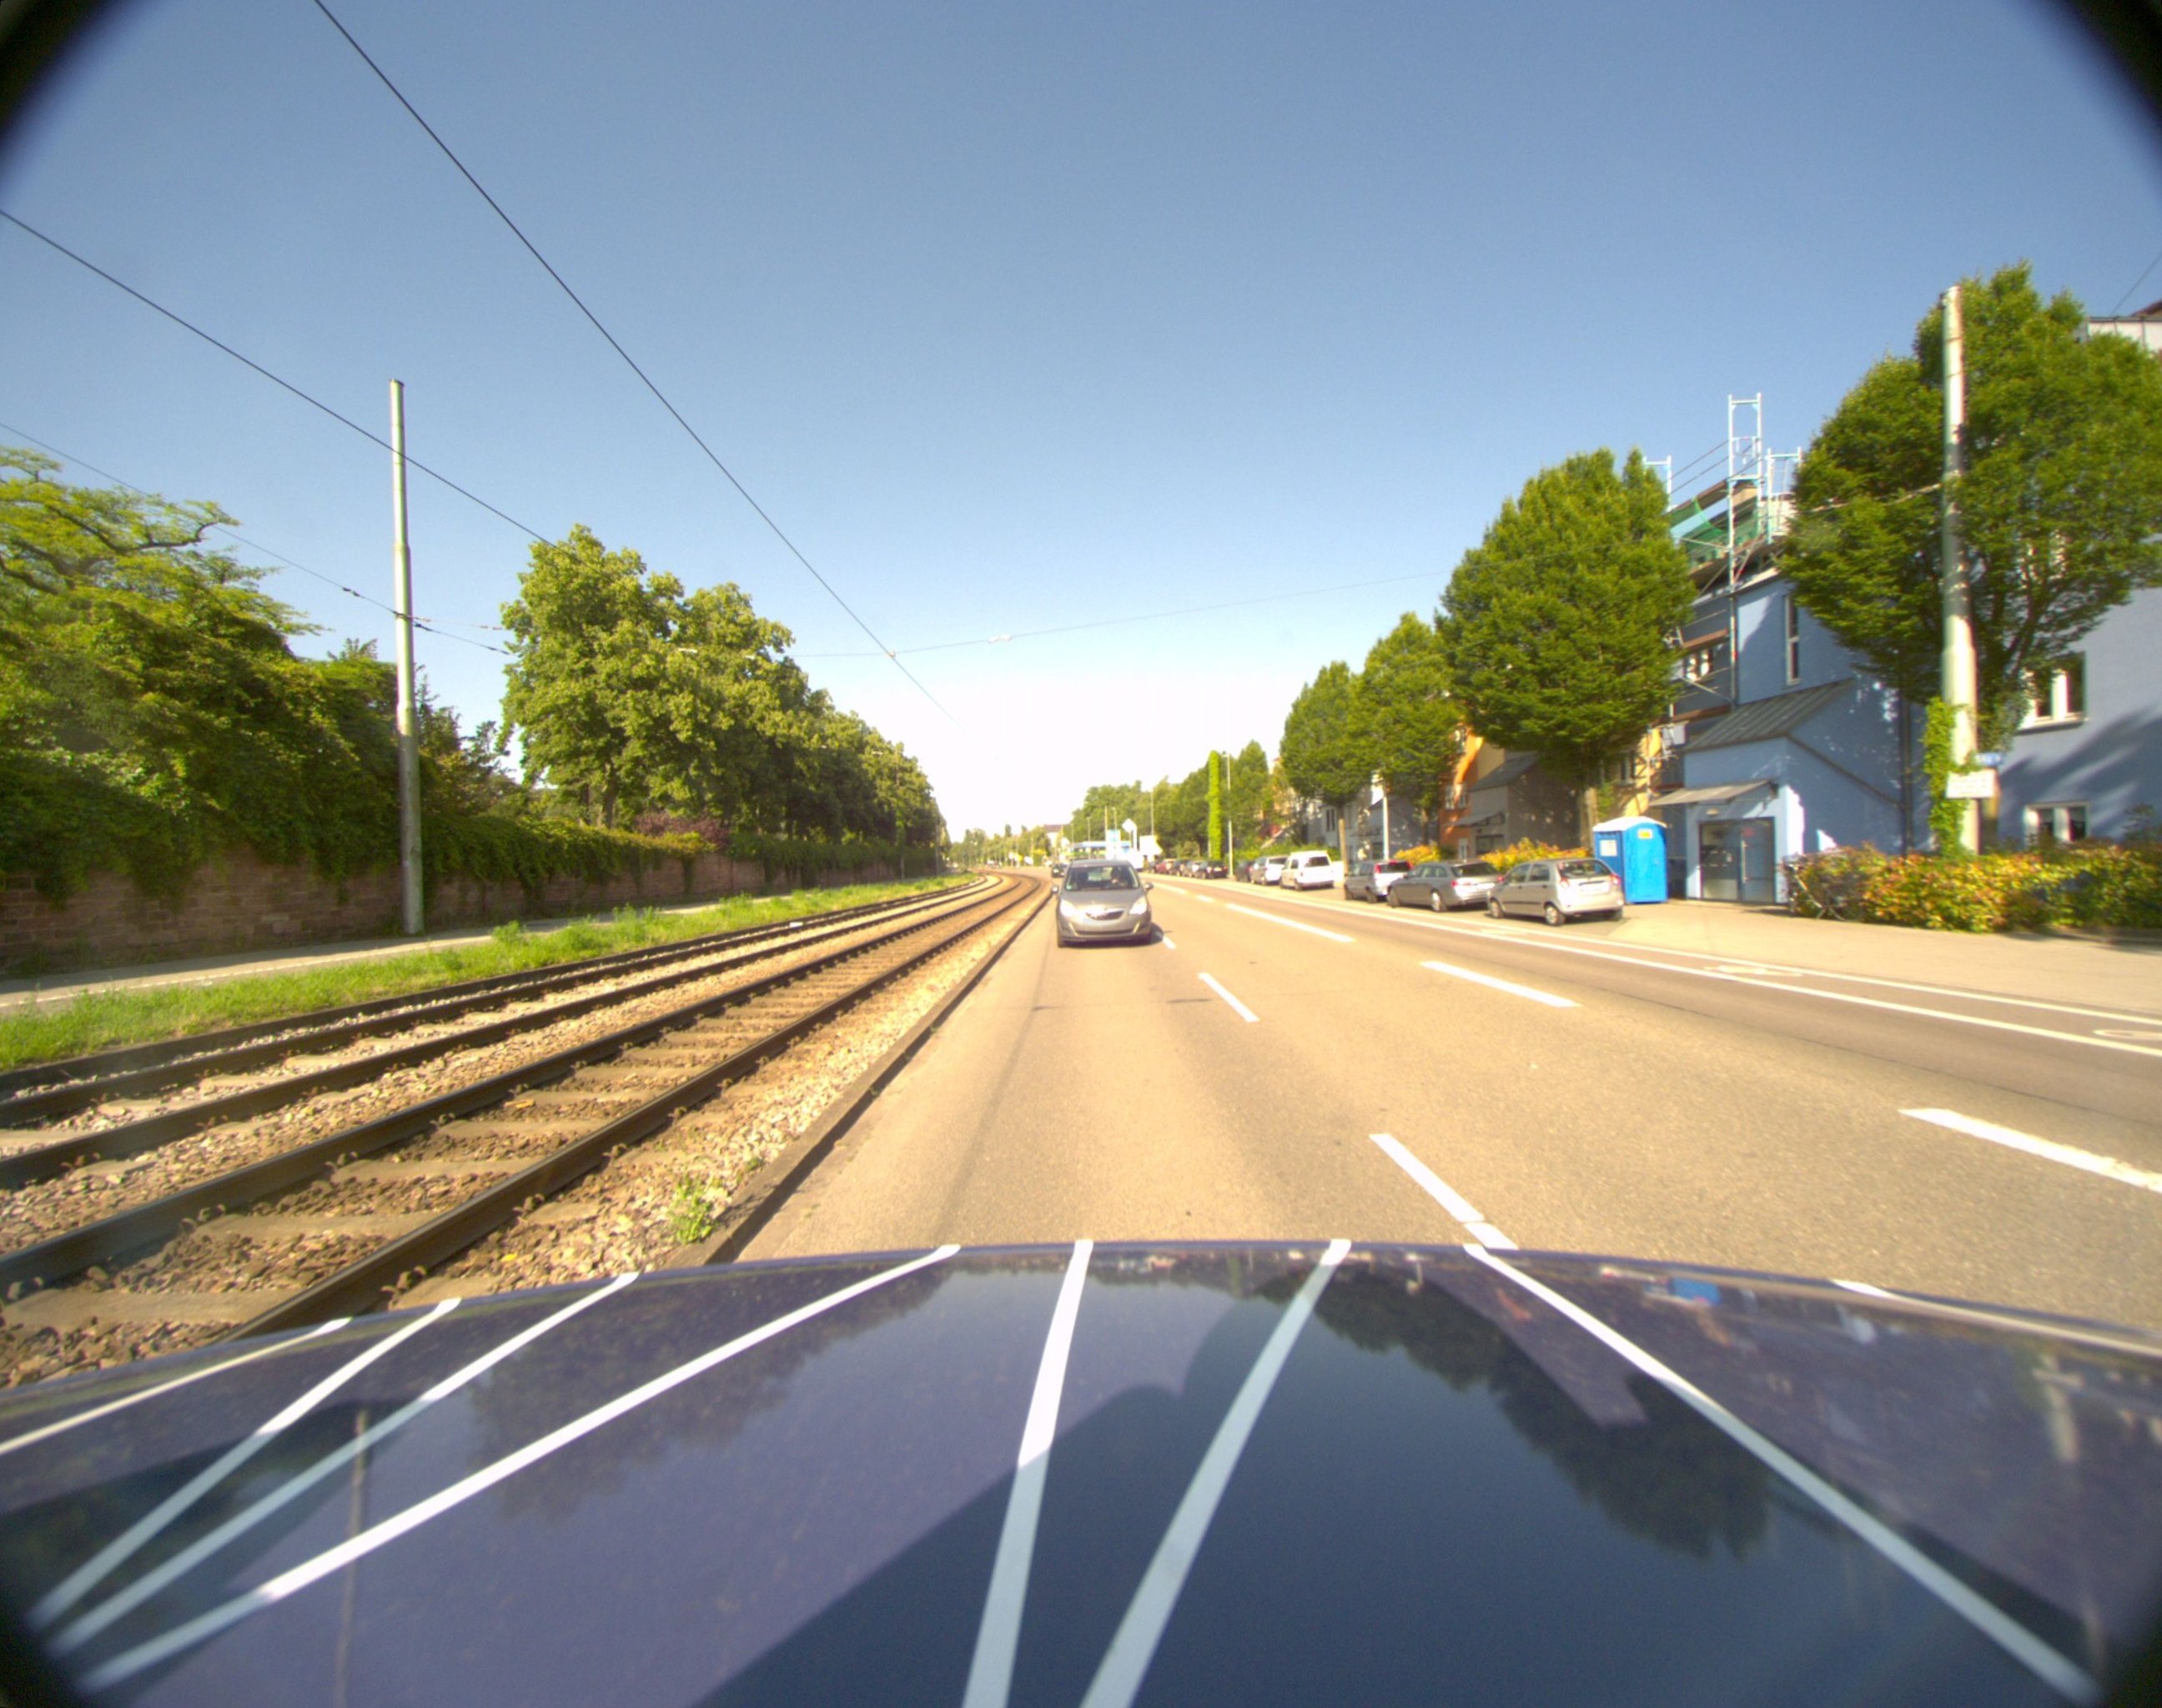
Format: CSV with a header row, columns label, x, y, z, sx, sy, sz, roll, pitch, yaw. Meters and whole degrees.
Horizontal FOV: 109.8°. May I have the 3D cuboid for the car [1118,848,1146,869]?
label,x,y,z,sx,sy,sz,roll,pitch,yaw
car,6.581,0.587,98.639,2.159,2.443,6.179,-4,0,-9

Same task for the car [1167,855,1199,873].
label,x,y,z,sx,sy,sz,roll,pitch,yaw
car,9.708,0.917,72.654,1.768,1.564,4.433,-3,0,-10

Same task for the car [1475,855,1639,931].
label,x,y,z,sx,sy,sz,roll,pitch,yaw
car,11.190,0.848,18.166,1.605,1.486,3.509,-6,0,0

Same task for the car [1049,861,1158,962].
label,x,y,z,sx,sy,sz,roll,pitch,yaw
car,0.409,0.963,14.350,1.730,1.574,3.764,-2,0,1

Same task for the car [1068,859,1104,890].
label,x,y,z,sx,sy,sz,roll,pitch,yaw
car,0.210,1.091,41.387,1.710,1.487,3.999,-3,0,-2

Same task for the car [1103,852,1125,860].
label,x,y,z,sx,sy,sz,roll,pitch,yaw
car,8.136,0.476,186.405,5.086,1.929,1.856,-1,0,-5

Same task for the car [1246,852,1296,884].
label,x,y,z,sx,sy,sz,roll,pitch,yaw
car,11.088,0.785,44.717,1.672,1.691,4.824,-3,0,0

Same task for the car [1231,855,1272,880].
label,x,y,z,sx,sy,sz,roll,pitch,yaw
car,11.197,0.869,50.105,1.620,1.457,4.057,-3,0,-2

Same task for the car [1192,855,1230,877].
label,x,y,z,sx,sy,sz,roll,pitch,yaw
car,10.477,0.931,61.435,1.871,1.535,4.908,-4,0,-3

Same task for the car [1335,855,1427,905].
label,x,y,z,sx,sy,sz,roll,pitch,yaw
car,11.097,0.907,28.368,1.767,1.530,3.981,-6,0,1

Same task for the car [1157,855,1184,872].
label,x,y,z,sx,sy,sz,roll,pitch,yaw
car,9.226,0.973,78.521,1.768,1.565,4.159,-2,1,-6

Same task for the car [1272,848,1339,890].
label,x,y,z,sx,sy,sz,roll,pitch,yaw
car,11.262,0.703,38.491,1.767,1.835,4.579,-6,0,-1

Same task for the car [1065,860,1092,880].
label,x,y,z,sx,sy,sz,roll,pitch,yaw
car,-0.235,1.118,53.831,1.579,1.306,3.998,-3,0,-4

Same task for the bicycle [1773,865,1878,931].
label,x,y,z,sx,sy,sz,roll,pitch,yaw
bicycle,14.278,0.812,14.636,0.444,1.147,1.785,-1,1,7

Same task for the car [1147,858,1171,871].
label,x,y,z,sx,sy,sz,roll,pitch,yaw
car,8.599,1.128,83.820,1.657,1.416,4.710,-1,0,-7

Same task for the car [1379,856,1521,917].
label,x,y,z,sx,sy,sz,roll,pitch,yaw
car,11.045,0.900,23.183,1.753,1.502,4.754,-6,0,-2

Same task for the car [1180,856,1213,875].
label,x,y,z,sx,sy,sz,roll,pitch,yaw
car,10.157,0.971,67.307,1.717,1.463,4.841,-3,1,-5

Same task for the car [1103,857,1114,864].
label,x,y,z,sx,sy,sz,roll,pitch,yaw
car,6.041,1.471,168.923,1.742,1.481,4.271,-1,0,-8

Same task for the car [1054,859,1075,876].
label,x,y,z,sx,sy,sz,roll,pitch,yaw
car,-1.656,1.284,74.688,1.711,1.581,3.998,-3,0,-6
